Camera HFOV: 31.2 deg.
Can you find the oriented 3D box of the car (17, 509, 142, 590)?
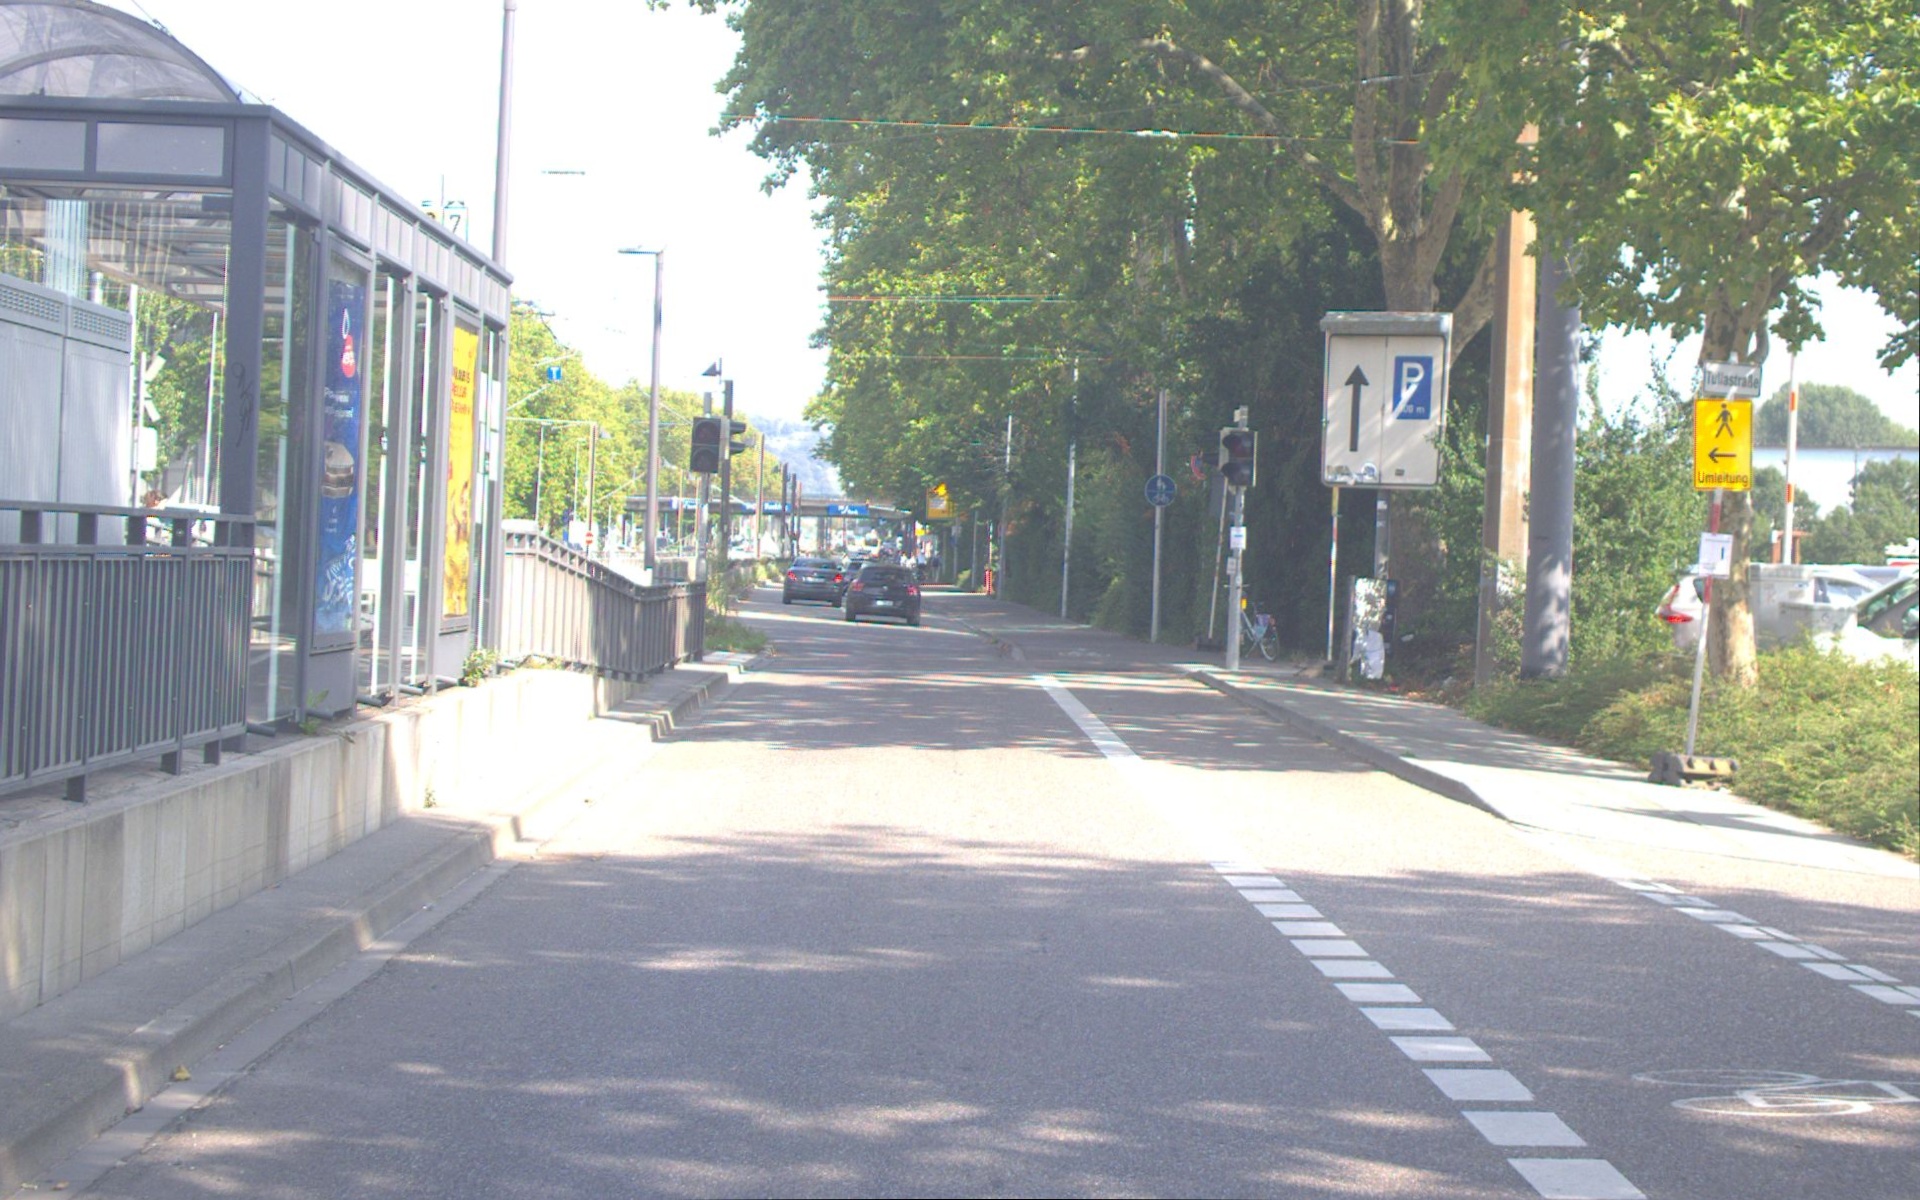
[{"bbox_3d":[-20.748,-1.186,81.149,1.993,1.831,4.000,1,1,-2],"label":"car"}]

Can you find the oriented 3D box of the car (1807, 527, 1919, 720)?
[{"bbox_3d":[10.912,0.236,35.002,4.103,1.912,1.848,1,1,2],"label":"car"}]

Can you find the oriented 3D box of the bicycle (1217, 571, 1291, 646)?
[{"bbox_3d":[4.289,0.107,50.344,0.610,1.018,2.403,2,1,-6],"label":"bicycle"}]

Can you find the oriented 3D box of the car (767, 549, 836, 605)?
[{"bbox_3d":[-4.634,-0.692,100.705,1.973,1.532,4.001,-1,1,-2],"label":"car"}]

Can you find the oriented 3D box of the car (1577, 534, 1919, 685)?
[{"bbox_3d":[9.438,0.105,40.178,3.986,1.581,2.000,2,1,-2],"label":"car"}]

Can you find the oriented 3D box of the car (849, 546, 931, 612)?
[{"bbox_3d":[-1.722,-0.535,83.167,1.907,1.532,4.001,0,1,-2],"label":"car"}]

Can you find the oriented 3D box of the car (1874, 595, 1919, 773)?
[{"bbox_3d":[8.792,0.737,27.535,1.728,1.443,4.117,1,1,-1],"label":"car"}]
